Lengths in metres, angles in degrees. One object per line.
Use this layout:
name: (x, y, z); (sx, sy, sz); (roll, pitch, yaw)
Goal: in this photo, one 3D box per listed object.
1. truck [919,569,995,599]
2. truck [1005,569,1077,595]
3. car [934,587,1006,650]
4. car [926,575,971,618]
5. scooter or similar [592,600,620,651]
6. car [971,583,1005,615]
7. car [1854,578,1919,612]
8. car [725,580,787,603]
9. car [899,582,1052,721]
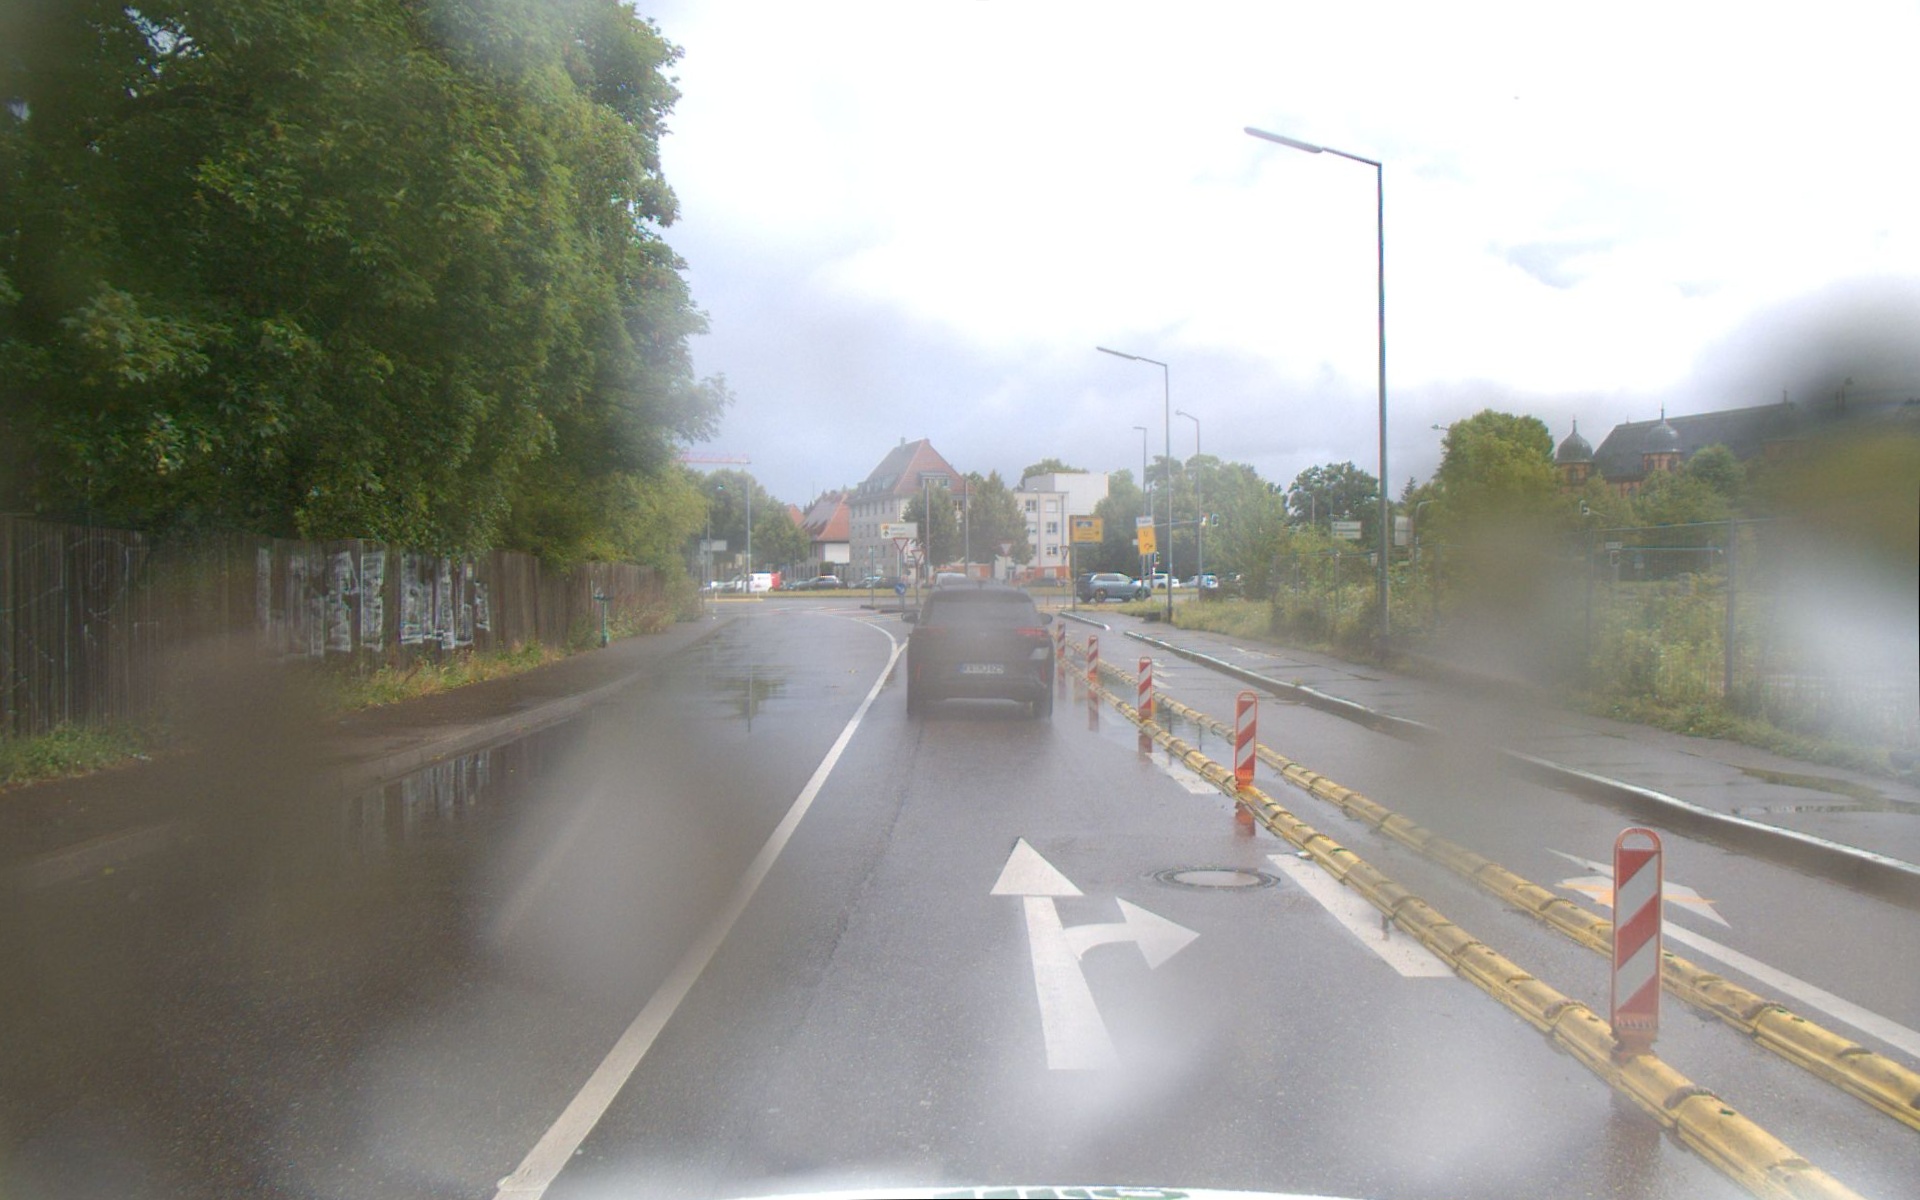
truck: (-0.228, -1.471, 151.467); (6.920, 2.696, 2.330); (0, 0, 1)
truck: (7.791, -1.729, 158.976); (6.560, 2.485, 2.436); (-1, 0, 15)
car: (0.223, 0.443, 42.841); (1.700, 1.540, 3.602); (0, 1, -2)
car: (-0.560, -0.182, 74.620); (1.827, 1.841, 4.401); (0, 1, -3)
scooter or similar: (-8.322, 0.593, 38.927); (0.551, 1.183, 1.206); (-1, 0, -8)
car: (1.492, -0.050, 89.270); (1.632, 1.673, 3.953); (0, 1, -1)
car: (44.666, -0.241, 78.869); (3.457, 1.573, 1.625); (0, 1, 35)
car: (-17.656, -0.742, 143.371); (5.069, 1.909, 1.872); (-1, 1, -34)
car: (0.113, 0.587, 20.880); (1.674, 1.601, 3.680); (0, 0, -3)
